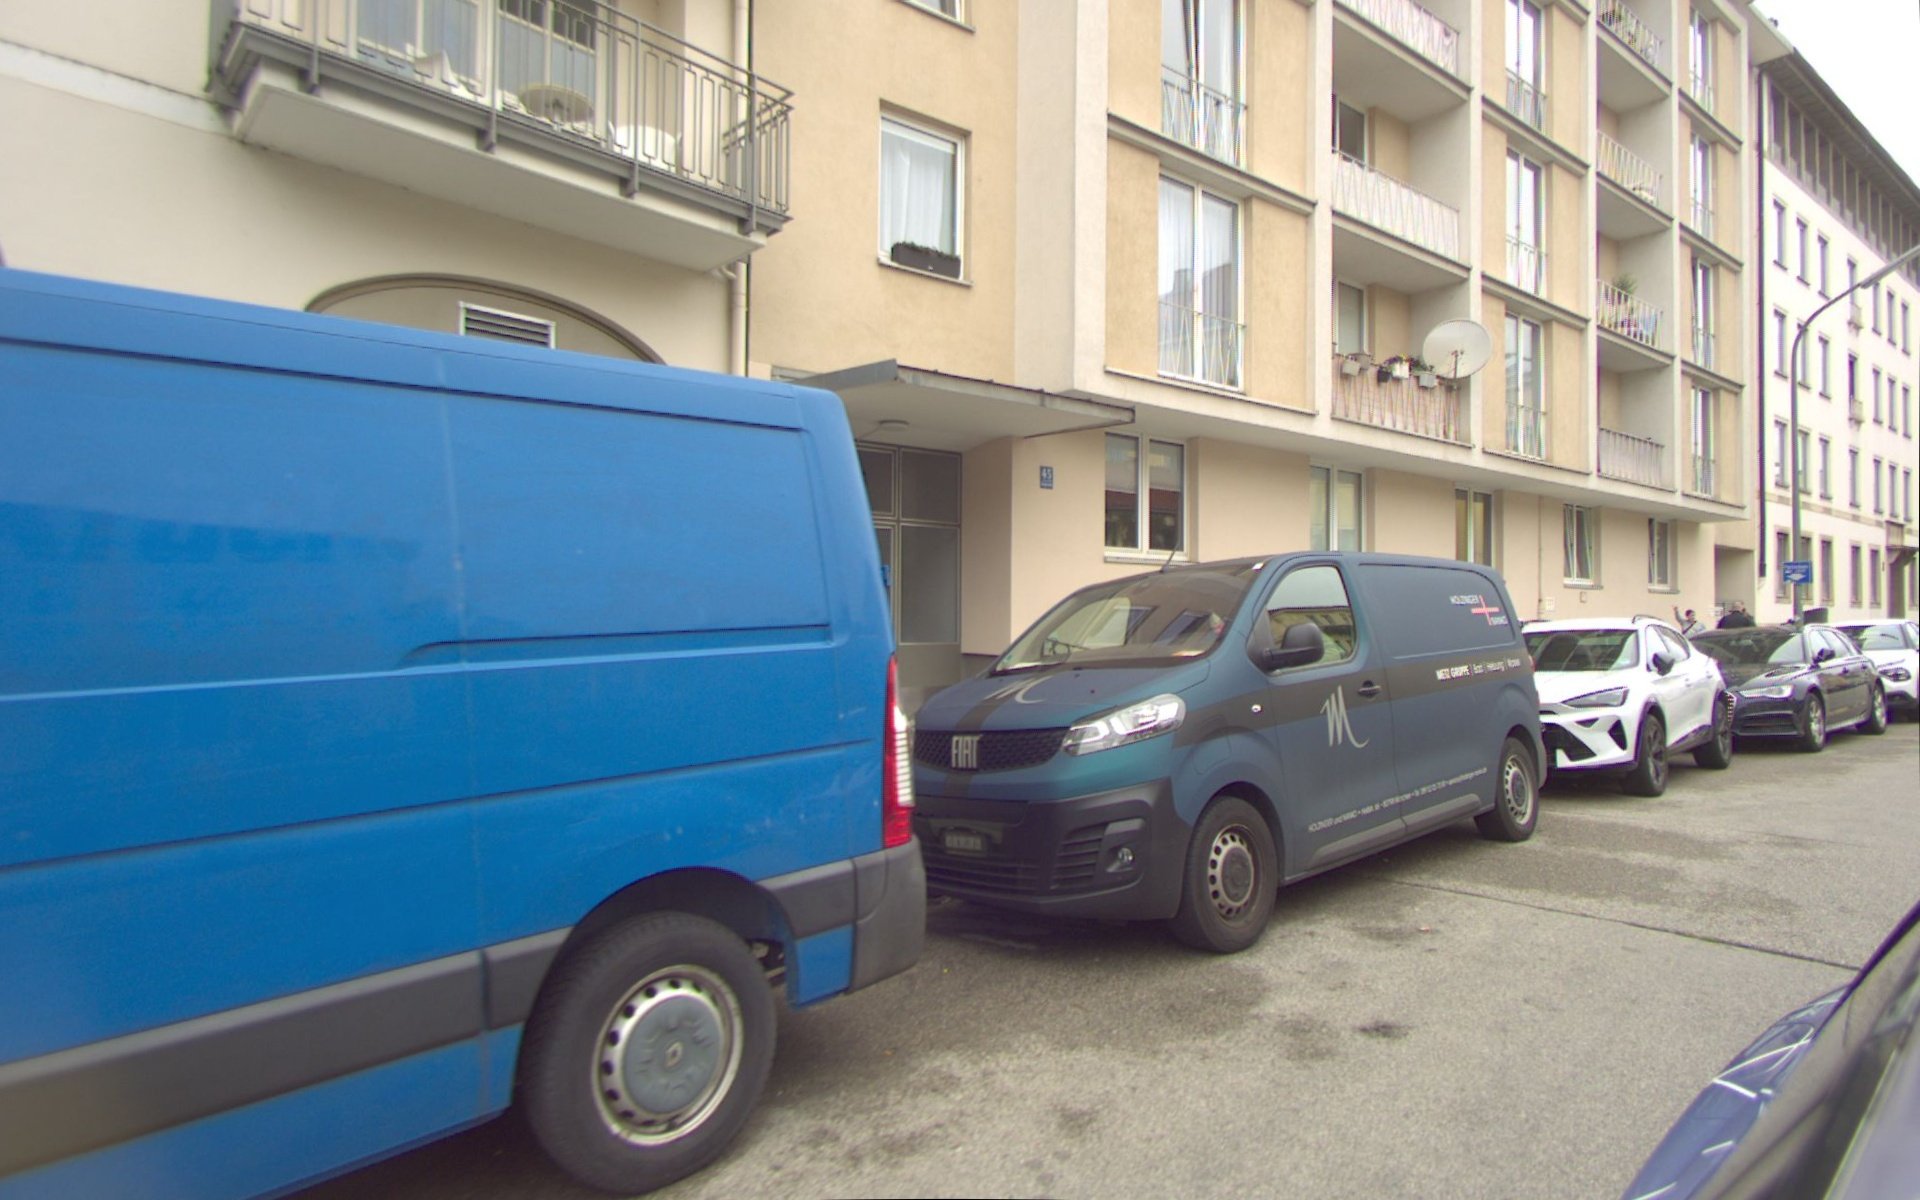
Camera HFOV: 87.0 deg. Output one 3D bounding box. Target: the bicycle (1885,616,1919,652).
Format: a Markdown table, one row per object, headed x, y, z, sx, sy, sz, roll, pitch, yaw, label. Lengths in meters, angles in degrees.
| x | y | z | sx | sy | sz | roll | pitch | yaw | label |
| --- | --- | --- | --- | --- | --- | --- | --- | --- | --- |
| 31.131 | 1.117 | 33.284 | 1.990 | 1.140 | 0.661 | 1 | 0 | -36 | bicycle |

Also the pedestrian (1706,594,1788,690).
| x | y | z | sx | sy | sz | roll | pitch | yaw | label |
| --- | --- | --- | --- | --- | --- | --- | --- | --- | --- |
| 14.597 | 0.752 | 18.776 | 1.295 | 1.709 | 0.900 | 1 | 0 | -38 | pedestrian |

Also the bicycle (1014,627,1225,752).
| x | y | z | sx | sy | sz | roll | pitch | yaw | label |
| --- | --- | --- | --- | --- | --- | --- | --- | --- | --- |
| 1.782 | 0.916 | 11.155 | 2.167 | 1.201 | 1.149 | 1 | -1 | -39 | bicycle |

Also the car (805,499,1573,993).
| x | y | z | sx | sy | sz | roll | pitch | yaw | label |
| --- | --- | --- | --- | --- | --- | --- | --- | --- | --- |
| 1.677 | 0.603 | 6.125 | 4.848 | 1.840 | 1.967 | 0 | -4 | -40 | car |

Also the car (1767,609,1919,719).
| x | y | z | sx | sy | sz | roll | pitch | yaw | label |
| --- | --- | --- | --- | --- | --- | --- | --- | --- | --- |
| 14.397 | 0.943 | 15.883 | 4.142 | 1.519 | 1.742 | 1 | -4 | -38 | car |

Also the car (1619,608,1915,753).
| x | y | z | sx | sy | sz | roll | pitch | yaw | label |
| --- | --- | --- | --- | --- | --- | --- | --- | --- | --- |
| 10.248 | 0.906 | 12.748 | 4.411 | 1.519 | 1.743 | 0 | -3 | -36 | car |

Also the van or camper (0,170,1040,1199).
| x | y | z | sx | sy | sz | roll | pitch | yaw | label |
| --- | --- | --- | --- | --- | --- | --- | --- | --- | --- |
| -2.421 | 0.414 | 2.505 | 5.345 | 2.260 | 2.062 | 1 | -4 | -42 | van or camper |

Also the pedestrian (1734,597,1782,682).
| x | y | z | sx | sy | sz | roll | pitch | yaw | label |
| --- | --- | --- | --- | --- | --- | --- | --- | --- | --- |
| 16.027 | 0.781 | 20.320 | 0.618 | 1.675 | 0.598 | 1 | -1 | -36 | pedestrian |

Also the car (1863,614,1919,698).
| x | y | z | sx | sy | sz | roll | pitch | yaw | label |
| --- | --- | --- | --- | --- | --- | --- | --- | --- | --- |
| 18.293 | 0.983 | 18.540 | 4.400 | 1.439 | 1.799 | 1 | -4 | -38 | car |

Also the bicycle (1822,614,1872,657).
| x | y | z | sx | sy | sz | roll | pitch | yaw | label |
| --- | --- | --- | --- | --- | --- | --- | --- | --- | --- |
| 25.468 | 1.015 | 29.047 | 1.990 | 1.178 | 0.661 | 1 | 0 | -36 | bicycle |

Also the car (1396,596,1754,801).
| x | y | z | sx | sy | sz | roll | pitch | yaw | label |
| --- | --- | --- | --- | --- | --- | --- | --- | --- | --- |
| 6.059 | 0.818 | 9.763 | 4.200 | 1.558 | 1.740 | 0 | -5 | -42 | car |

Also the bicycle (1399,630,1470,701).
| x | y | z | sx | sy | sz | roll | pitch | yaw | label |
| --- | --- | --- | --- | --- | --- | --- | --- | --- | --- |
| 7.433 | 1.005 | 15.847 | 1.375 | 1.036 | 0.391 | 1 | 0 | -37 | bicycle |

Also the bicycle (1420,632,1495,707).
| x | y | z | sx | sy | sz | roll | pitch | yaw | label |
| --- | --- | --- | --- | --- | --- | --- | --- | --- | --- |
| 7.374 | 1.009 | 14.982 | 1.375 | 1.036 | 0.391 | 1 | 0 | -37 | bicycle |

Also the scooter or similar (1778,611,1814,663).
| x | y | z | sx | sy | sz | roll | pitch | yaw | label |
| --- | --- | --- | --- | --- | --- | --- | --- | --- | --- |
| 21.953 | 0.966 | 26.570 | 1.022 | 1.267 | 0.599 | -3 | 4 | -45 | scooter or similar |

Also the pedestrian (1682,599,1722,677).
| x | y | z | sx | sy | sz | roll | pitch | yaw | label |
| --- | --- | --- | --- | --- | --- | --- | --- | --- | --- |
| 15.646 | 0.791 | 21.335 | 0.549 | 1.605 | 0.533 | 1 | -1 | -36 | pedestrian |

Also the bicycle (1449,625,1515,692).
| x | y | z | sx | sy | sz | roll | pitch | yaw | label |
| --- | --- | --- | --- | --- | --- | --- | --- | --- | --- |
| 8.630 | 0.949 | 16.711 | 1.375 | 1.036 | 0.391 | 1 | 0 | -37 | bicycle |

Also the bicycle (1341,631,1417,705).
| x | y | z | sx | sy | sz | roll | pitch | yaw | label |
| --- | --- | --- | --- | --- | --- | --- | --- | --- | --- |
| 6.245 | 0.987 | 15.063 | 1.375 | 1.036 | 0.391 | 1 | 0 | -37 | bicycle |

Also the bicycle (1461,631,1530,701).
| x | y | z | sx | sy | sz | roll | pitch | yaw | label |
| --- | --- | --- | --- | --- | --- | --- | --- | --- | --- |
| 8.494 | 1.029 | 16.033 | 1.375 | 1.036 | 0.391 | 1 | 0 | -37 | bicycle |
